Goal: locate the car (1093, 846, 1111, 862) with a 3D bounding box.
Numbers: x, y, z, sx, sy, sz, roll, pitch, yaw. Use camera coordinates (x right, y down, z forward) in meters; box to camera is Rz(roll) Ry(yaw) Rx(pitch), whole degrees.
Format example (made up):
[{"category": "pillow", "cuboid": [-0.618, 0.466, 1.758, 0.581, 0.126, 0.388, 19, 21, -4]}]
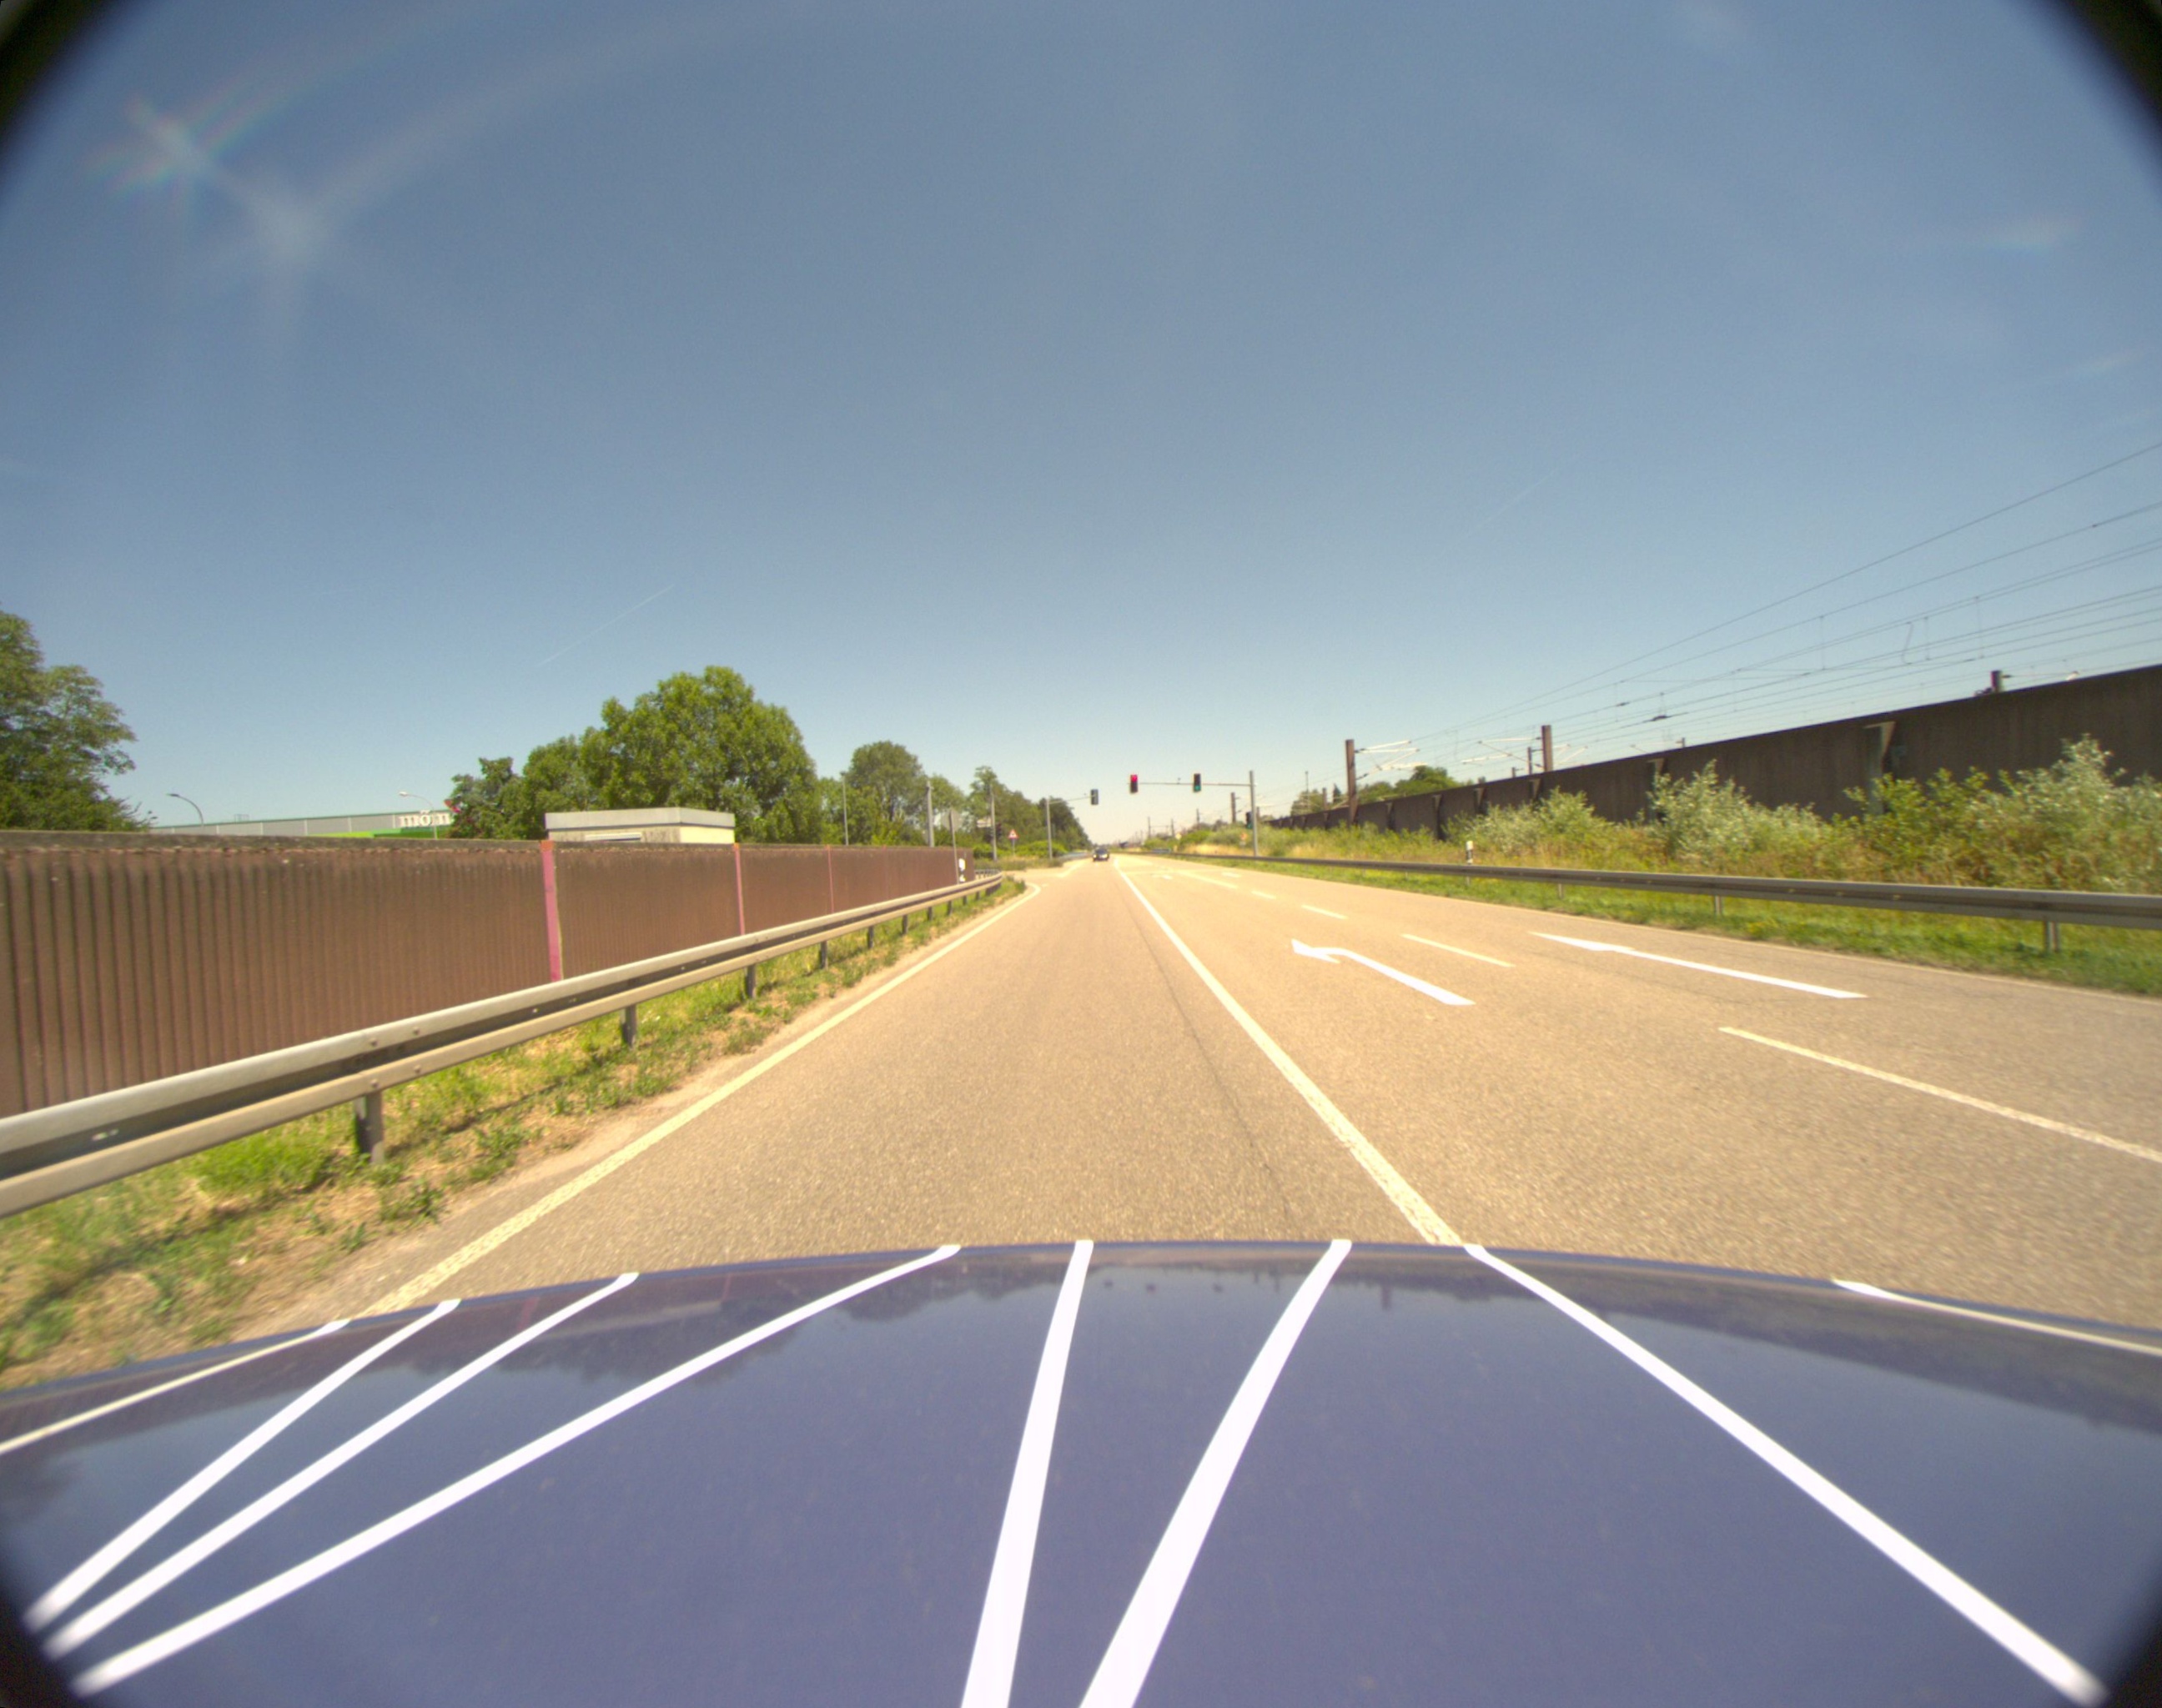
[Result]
[{"category": "car", "cuboid": [2.520, -0.020, 92.264, 1.998, 1.718, 3.999, -3, 1, 1]}]
